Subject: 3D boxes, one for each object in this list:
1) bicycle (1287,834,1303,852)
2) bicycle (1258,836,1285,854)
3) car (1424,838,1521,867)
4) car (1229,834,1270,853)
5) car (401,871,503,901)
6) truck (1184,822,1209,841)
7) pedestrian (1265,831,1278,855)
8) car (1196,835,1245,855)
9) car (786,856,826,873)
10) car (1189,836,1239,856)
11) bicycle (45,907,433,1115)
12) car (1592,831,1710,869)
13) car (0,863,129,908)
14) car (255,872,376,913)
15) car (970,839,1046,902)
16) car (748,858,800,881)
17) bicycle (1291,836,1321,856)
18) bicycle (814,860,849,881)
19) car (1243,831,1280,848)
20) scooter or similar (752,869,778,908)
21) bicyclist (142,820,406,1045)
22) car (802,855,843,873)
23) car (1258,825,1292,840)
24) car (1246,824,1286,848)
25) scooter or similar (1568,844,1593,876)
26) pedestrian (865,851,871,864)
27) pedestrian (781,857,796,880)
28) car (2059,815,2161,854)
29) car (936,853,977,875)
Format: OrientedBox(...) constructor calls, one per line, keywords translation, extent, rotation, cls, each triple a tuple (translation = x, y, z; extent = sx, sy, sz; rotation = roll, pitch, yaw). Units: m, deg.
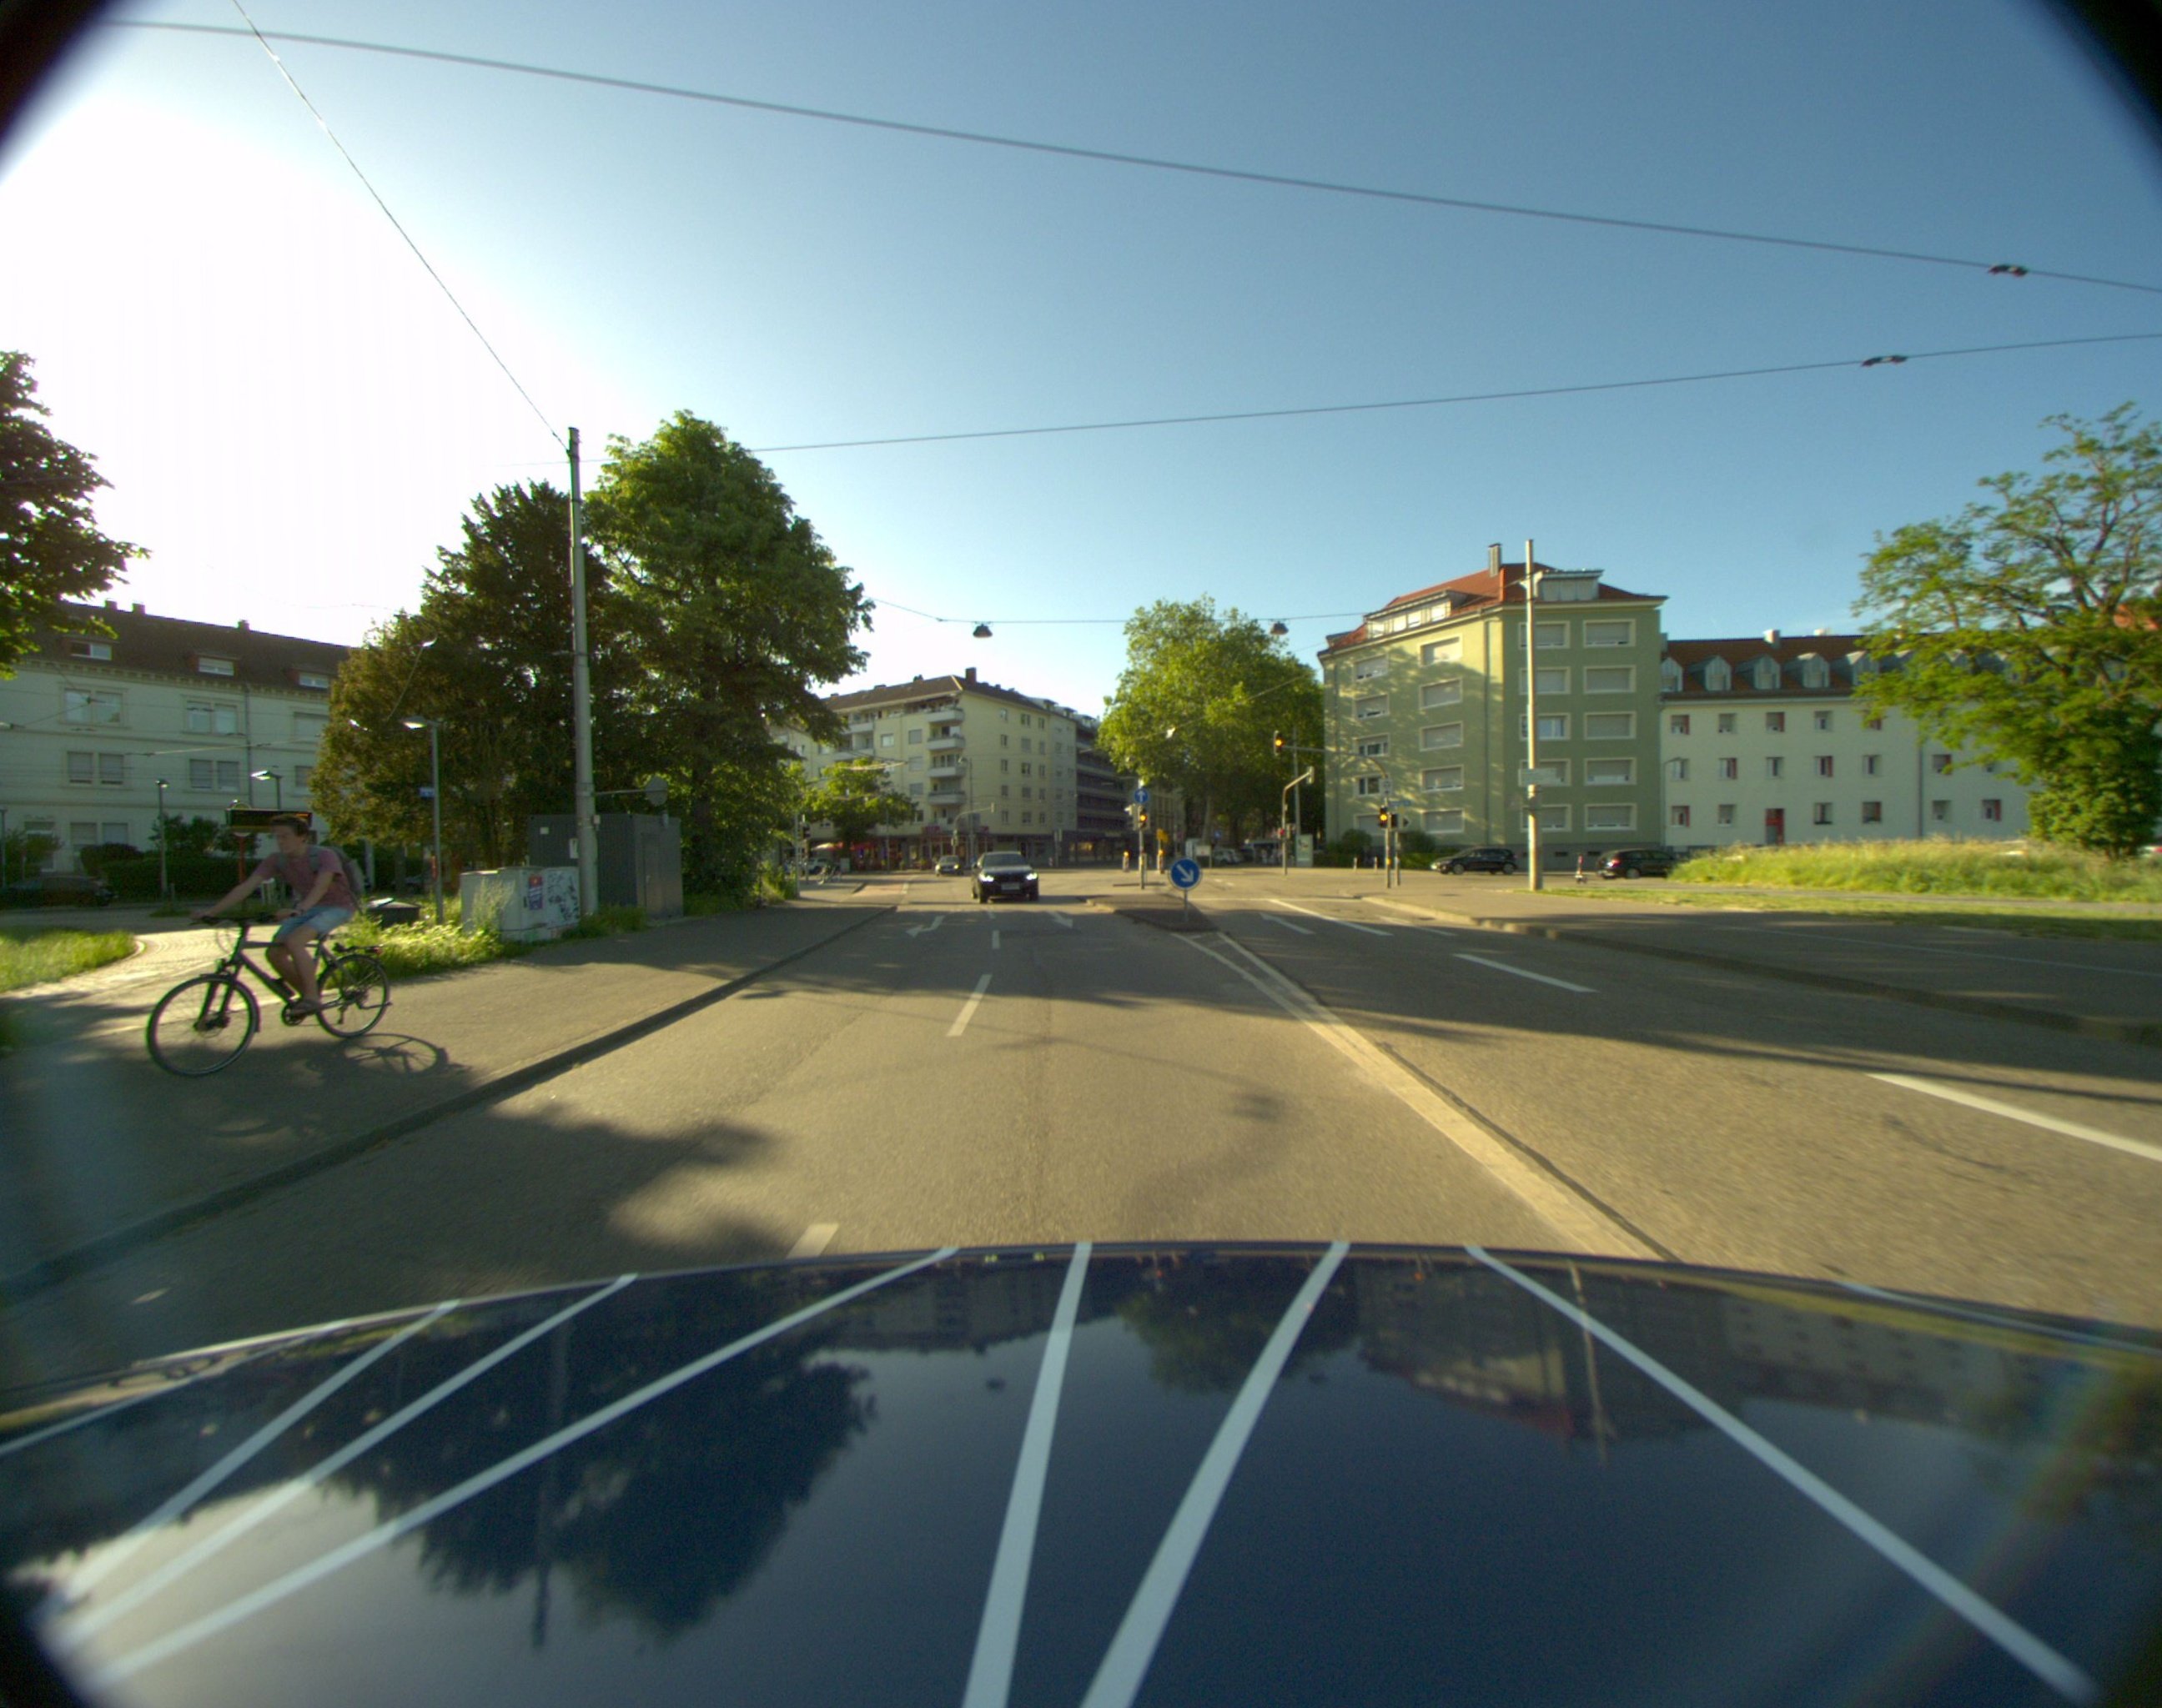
OrientedBox(translation=(16.905, -0.893, 60.016), extent=(0.774, 1.372, 2.052), rotation=(-1, 3, 3), cls="bicycle")
OrientedBox(translation=(15.703, -0.747, 62.533), extent=(2.047, 1.454, 0.727), rotation=(1, 4, 31), cls="bicycle")
OrientedBox(translation=(21.092, -0.046, 41.056), extent=(4.203, 1.484, 1.943), rotation=(-1, -1, 3), cls="car")
OrientedBox(translation=(18.187, -1.147, 82.026), extent=(3.992, 1.827, 1.818), rotation=(-2, 2, 23), cls="car")
OrientedBox(translation=(-35.236, 1.755, 42.614), extent=(4.193, 1.337, 1.994), rotation=(-5, 2, -44), cls="car")
OrientedBox(translation=(19.452, -3.763, 127.532), extent=(2.339, 2.956, 8.041), rotation=(-2, 2, 21), cls="truck")
OrientedBox(translation=(16.008, -0.952, 63.908), extent=(0.695, 1.953, 0.929), rotation=(-2, 2, 32), cls="pedestrian")
OrientedBox(translation=(13.148, -0.823, 71.420), extent=(4.140, 1.631, 1.777), rotation=(-2, 2, 23), cls="car")
OrientedBox(translation=(-26.245, 1.001, 72.580), extent=(1.575, 1.394, 3.204), rotation=(-2, 2, 38), cls="car")
OrientedBox(translation=(12.194, -0.741, 69.569), extent=(4.140, 1.631, 1.777), rotation=(-2, 2, 23), cls="car")
OrientedBox(translation=(-6.241, 1.078, 5.865), extent=(0.720, 1.185, 2.001), rotation=(0, 0, 1), cls="bicycle")
OrientedBox(translation=(25.146, -0.174, 33.617), extent=(3.899, 1.520, 1.701), rotation=(-1, -3, -1), cls="car")
OrientedBox(translation=(-50.931, 1.558, 37.741), extent=(4.193, 1.908, 1.994), rotation=(-5, 2, -44), cls="car")
OrientedBox(translation=(-39.284, 1.911, 39.130), extent=(4.193, 1.707, 1.994), rotation=(-5, 2, -44), cls="car")
OrientedBox(translation=(-2.665, 0.492, 26.784), extent=(1.943, 1.923, 4.518), rotation=(-4, 2, -13), cls="car")
OrientedBox(translation=(-25.757, 1.303, 63.763), extent=(4.208, 1.796, 1.860), rotation=(-2, 2, 34), cls="car")
OrientedBox(translation=(16.480, -0.629, 55.675), extent=(0.776, 1.372, 2.047), rotation=(-3, 4, -34), cls="bicycle")
OrientedBox(translation=(-13.846, 0.898, 42.229), extent=(0.626, 1.120, 1.810), rotation=(-2, -1, 35), cls="bicycle")
OrientedBox(translation=(21.238, -1.718, 89.397), extent=(3.992, 1.827, 1.818), rotation=(-2, 2, 23), cls="car")
OrientedBox(translation=(-10.002, 1.081, 24.108), extent=(0.385, 1.211, 1.832), rotation=(1, -1, -11), cls="scooter or similar")
OrientedBox(translation=(-6.238, 0.560, 5.966), extent=(0.813, 1.590, 1.149), rotation=(0, 0, 1), cls="bicyclist")
OrientedBox(translation=(-24.150, 0.927, 71.074), extent=(1.575, 1.478, 3.204), rotation=(-2, 2, 38), cls="car")
OrientedBox(translation=(25.701, -2.838, 100.728), extent=(3.992, 1.827, 1.818), rotation=(-2, 2, 23), cls="car")
OrientedBox(translation=(22.414, -2.172, 92.093), extent=(4.411, 2.612, 1.972), rotation=(-2, 2, 23), cls="car")
OrientedBox(translation=(19.017, 0.249, 28.932), extent=(0.593, 1.137, 1.270), rotation=(0, -3, 43), cls="scooter or similar")
OrientedBox(translation=(-20.975, 0.337, 74.816), extent=(0.384, 1.269, 0.494), rotation=(-3, -1, 5), cls="pedestrian")
OrientedBox(translation=(-20.606, 0.994, 53.501), extent=(0.673, 1.583, 0.726), rotation=(-5, 3, -44), cls="pedestrian")
OrientedBox(translation=(45.798, -0.835, 33.205), extent=(3.899, 1.520, 1.701), rotation=(-1, -3, -1), cls="car")
OrientedBox(translation=(-8.945, 0.719, 54.810), extent=(1.700, 1.432, 3.649), rotation=(-3, 0, 10), cls="car")
